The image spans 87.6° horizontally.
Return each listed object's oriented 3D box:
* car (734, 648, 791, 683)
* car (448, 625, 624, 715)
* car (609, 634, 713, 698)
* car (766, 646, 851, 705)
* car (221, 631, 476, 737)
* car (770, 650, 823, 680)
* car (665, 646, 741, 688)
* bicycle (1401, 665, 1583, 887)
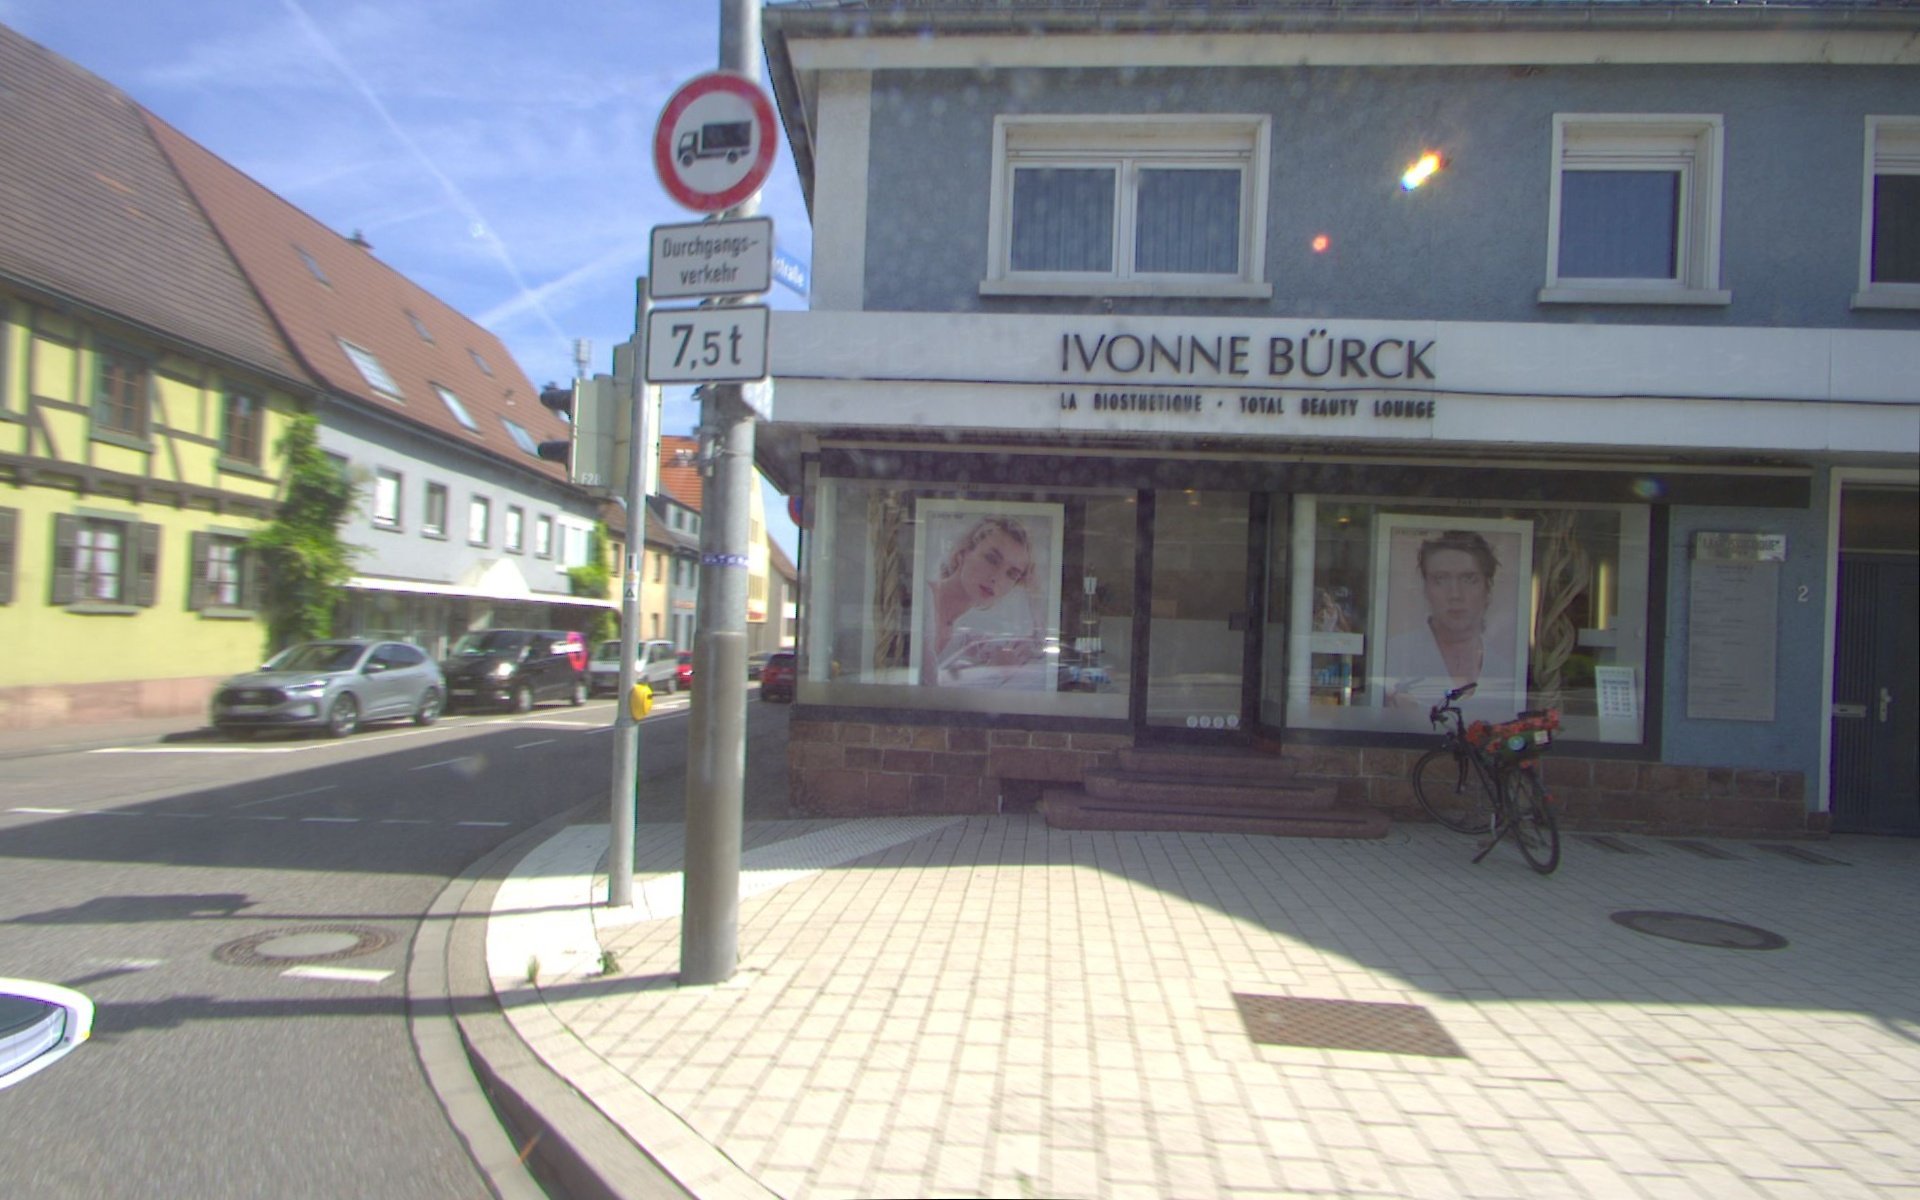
[{"bbox_3d":[-9.184,3.037,46.811,1.602,1.539,4.023,1,-3,4],"label":"car"},{"bbox_3d":[-10.221,1.676,24.690,2.124,1.947,5.169,-1,-3,0],"label":"car"},{"bbox_3d":[-9.627,2.115,32.631,1.853,1.914,4.555,1,-3,2],"label":"car"},{"bbox_3d":[-5.022,2.490,33.809,1.829,1.736,4.425,3,-3,4],"label":"car"},{"bbox_3d":[-10.453,1.406,17.586,1.727,1.630,4.432,0,-3,0],"label":"car"},{"bbox_3d":[-8.522,3.379,52.541,1.759,1.468,4.427,1,-3,4],"label":"car"},{"bbox_3d":[-9.960,2.592,39.157,1.730,1.511,4.079,1,-3,3],"label":"car"},{"bbox_3d":[3.568,1.102,6.875,0.539,1.250,1.809,1,-2,9],"label":"bicycle"}]
